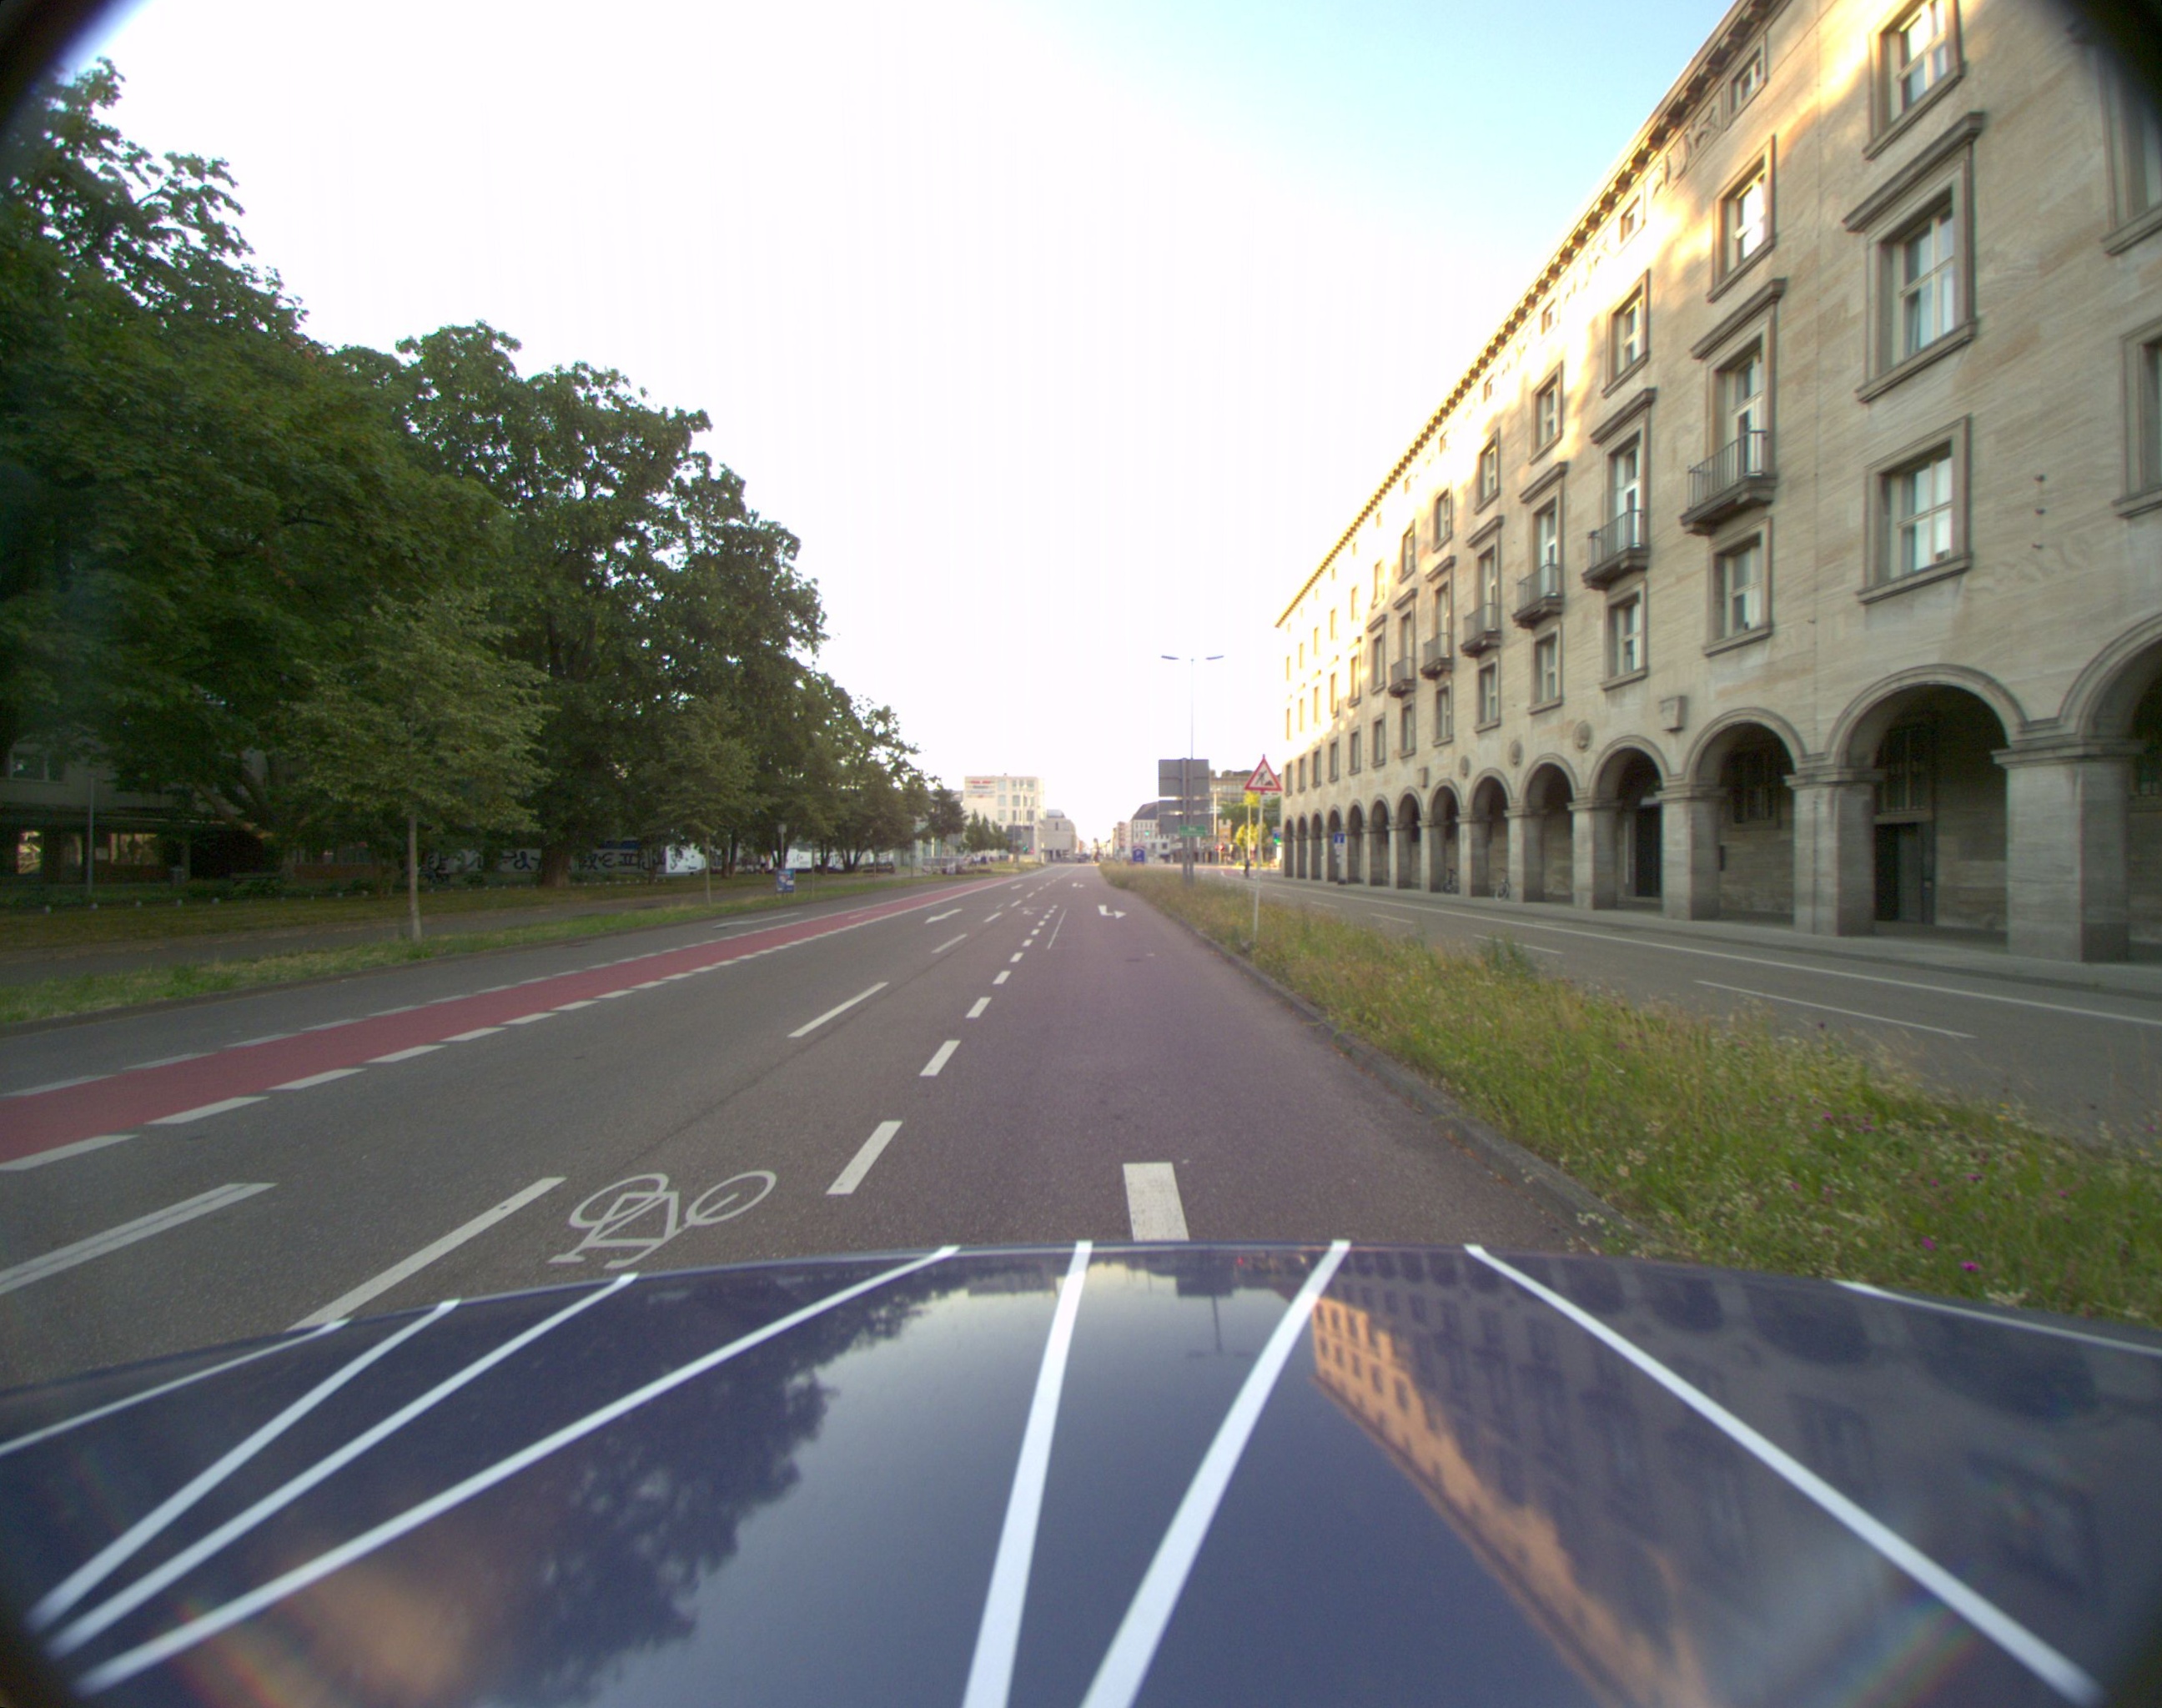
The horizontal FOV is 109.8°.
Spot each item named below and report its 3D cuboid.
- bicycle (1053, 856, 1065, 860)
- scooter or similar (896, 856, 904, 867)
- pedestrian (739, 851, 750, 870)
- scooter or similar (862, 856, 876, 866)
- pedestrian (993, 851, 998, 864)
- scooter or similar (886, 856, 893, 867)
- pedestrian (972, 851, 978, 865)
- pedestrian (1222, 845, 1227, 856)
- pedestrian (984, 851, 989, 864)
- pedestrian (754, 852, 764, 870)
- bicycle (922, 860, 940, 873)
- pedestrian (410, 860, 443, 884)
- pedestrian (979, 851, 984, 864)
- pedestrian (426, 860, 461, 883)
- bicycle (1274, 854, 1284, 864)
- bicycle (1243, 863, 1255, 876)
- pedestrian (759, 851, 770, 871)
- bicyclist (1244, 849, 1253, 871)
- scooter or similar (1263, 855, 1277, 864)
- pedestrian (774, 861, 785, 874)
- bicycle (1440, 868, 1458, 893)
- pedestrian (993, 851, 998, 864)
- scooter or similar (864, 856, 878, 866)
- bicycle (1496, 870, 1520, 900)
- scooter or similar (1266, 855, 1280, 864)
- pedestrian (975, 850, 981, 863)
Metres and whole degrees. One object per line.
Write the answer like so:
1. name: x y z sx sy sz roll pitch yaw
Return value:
1. bicycle: -5.502 0.997 189.104 2.804 1.209 0.765 0 0 10
2. scooter or similar: -20.009 0.792 84.138 0.424 1.213 1.399 2 0 2
3. pedestrian: -33.288 0.676 75.067 0.768 1.845 0.601 0 1 16
4. scooter or similar: -26.795 0.852 96.201 1.573 1.213 0.474 -2 1 -1
5. pedestrian: -12.093 0.494 107.773 0.644 1.922 0.619 0 1 1
6. scooter or similar: -21.182 0.804 84.074 0.474 1.213 1.573 2 0 -6
7. pedestrian: -15.109 0.597 108.376 0.644 1.922 0.619 0 1 3
8. pedestrian: 24.242 -0.556 128.521 0.661 1.922 0.648 0 0 2
9. pedestrian: -14.245 0.540 114.610 0.644 1.922 0.619 0 1 3
10. pedestrian: -32.128 0.703 75.828 0.768 1.810 0.601 0 1 16
11. bicycle: -12.701 1.064 64.468 0.494 1.000 1.901 3 1 21
12. pedestrian: -35.033 0.940 40.671 1.134 1.253 0.726 0 1 3
13. pedestrian: -14.167 0.478 108.294 0.644 1.922 0.619 0 1 3
14. pedestrian: -34.918 0.949 41.620 1.134 1.253 0.905 0 0 3
15. bicycle: 26.560 0.702 102.115 0.619 1.316 2.509 0 0 -1
16. bicycle: 13.224 1.219 59.872 0.543 0.999 2.005 0 0 1
17. pedestrian: -31.060 0.697 74.496 0.768 1.908 0.601 0 1 16
18. bicyclist: 13.227 0.466 60.047 0.538 1.683 0.748 0 1 0
19. scooter or similar: 26.294 0.734 105.550 1.863 1.297 0.500 0 1 -5
20. pedestrian: -20.625 0.911 52.007 0.682 0.879 0.592 0 0 -24
21. bicycle: 15.650 1.101 32.355 0.477 0.999 2.008 0 0 20
22. pedestrian: -12.859 0.529 114.829 0.644 1.922 0.619 0 1 3
23. scooter or similar: -26.853 0.837 97.018 1.573 1.213 0.474 -2 1 -1
24. bicycle: 15.367 1.108 27.320 0.477 0.999 2.009 0 0 37
25. scooter or similar: 26.385 0.737 104.560 1.836 1.297 0.423 0 1 -5
26. pedestrian: -15.211 0.336 112.243 0.644 1.922 0.619 0 1 3
